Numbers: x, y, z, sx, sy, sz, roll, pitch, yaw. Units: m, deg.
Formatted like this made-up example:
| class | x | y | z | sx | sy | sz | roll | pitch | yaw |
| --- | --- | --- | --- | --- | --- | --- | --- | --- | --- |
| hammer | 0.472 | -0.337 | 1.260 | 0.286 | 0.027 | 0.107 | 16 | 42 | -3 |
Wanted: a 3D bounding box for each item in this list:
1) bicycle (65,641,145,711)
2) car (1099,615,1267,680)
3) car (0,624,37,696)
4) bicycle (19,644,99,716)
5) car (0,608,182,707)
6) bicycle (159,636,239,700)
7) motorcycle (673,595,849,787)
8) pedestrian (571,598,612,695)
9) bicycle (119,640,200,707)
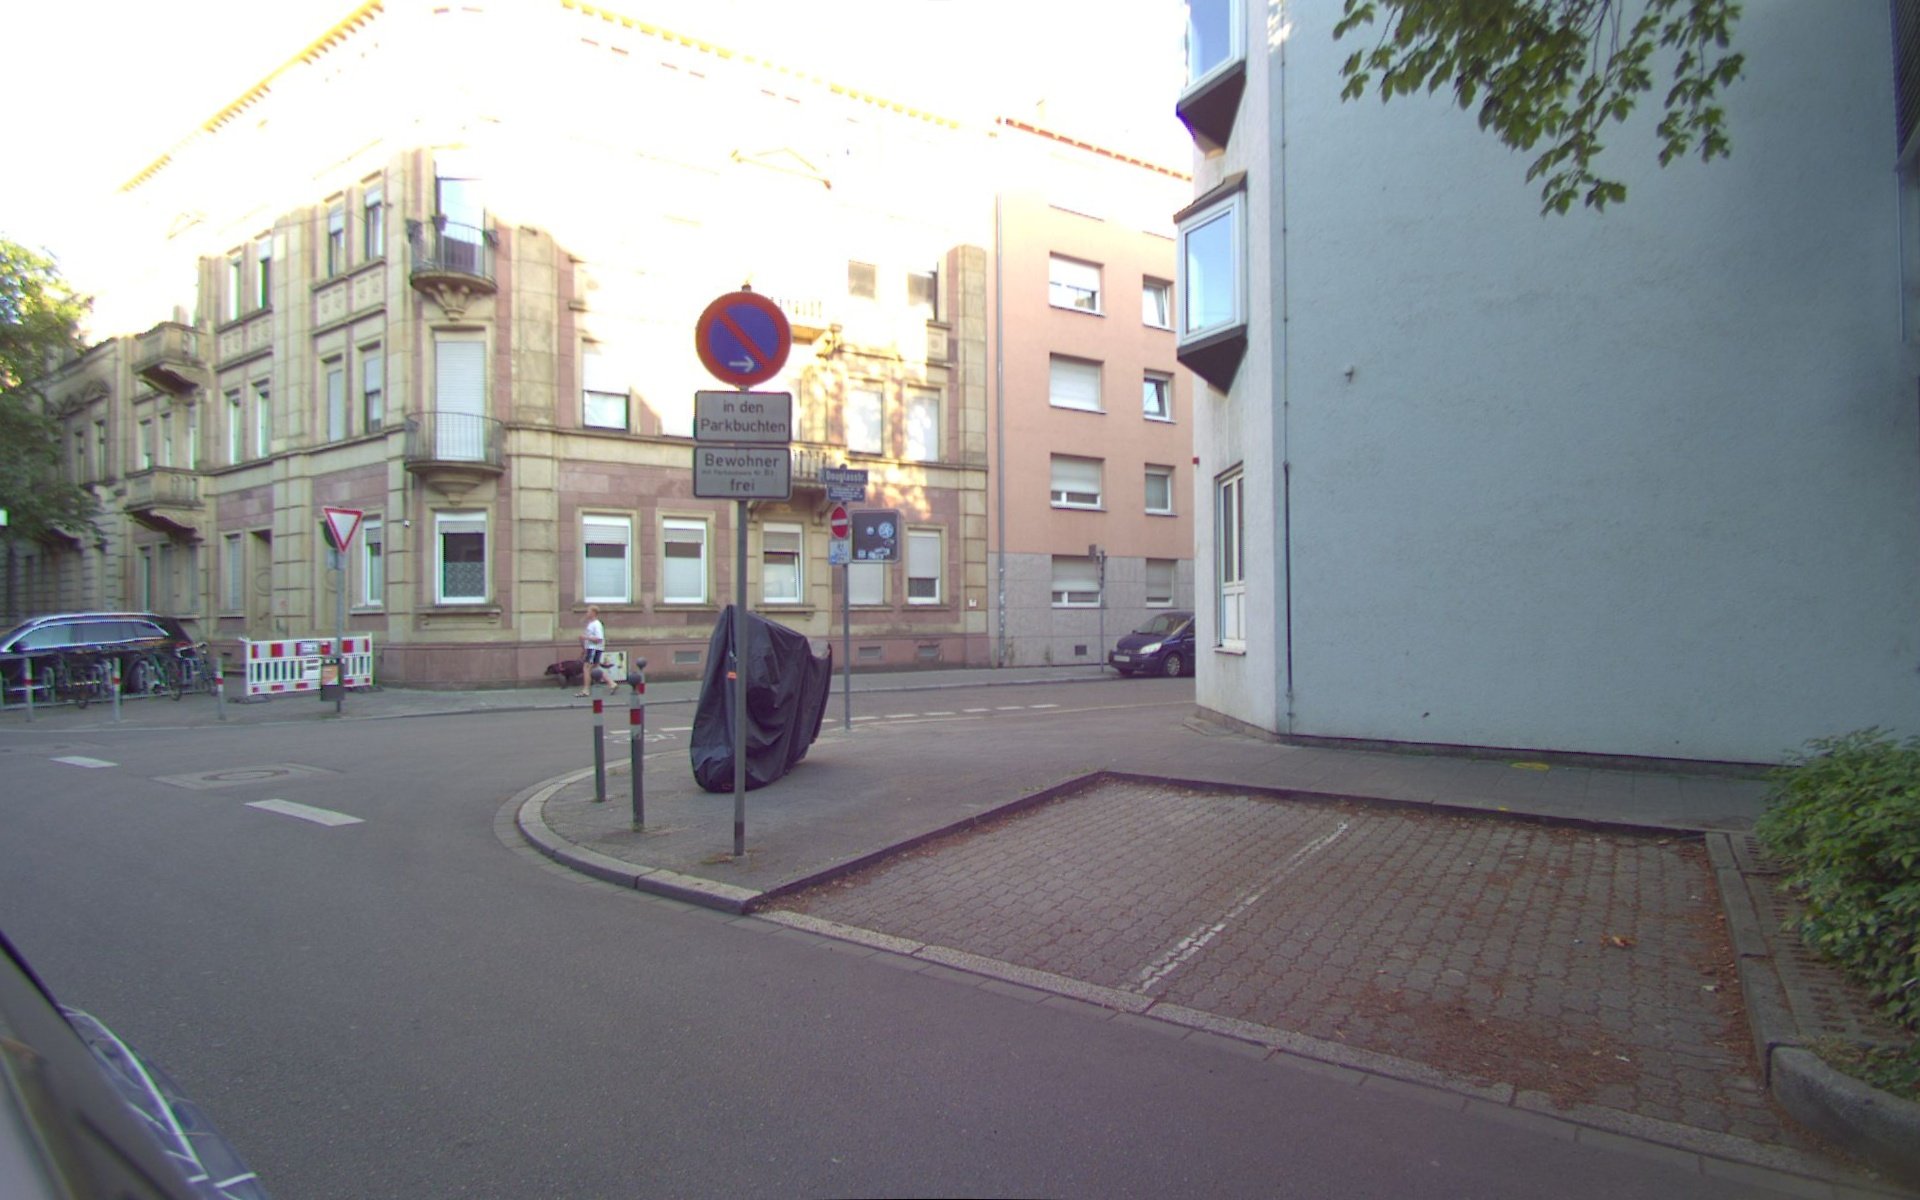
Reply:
| class | x | y | z | sx | sy | sz | roll | pitch | yaw |
| --- | --- | --- | --- | --- | --- | --- | --- | --- | --- |
| bicycle | -15.264 | 1.326 | 18.053 | 2.034 | 1.159 | 0.555 | -1 | -1 | 34 |
| car | 5.745 | 1.157 | 25.852 | 4.297 | 1.529 | 1.789 | 1 | -2 | -36 |
| car | -24.297 | 1.427 | 23.392 | 1.740 | 1.690 | 4.190 | -1 | -2 | 39 |
| bicycle | -15.617 | 1.350 | 17.524 | 2.034 | 1.159 | 0.555 | -1 | -1 | 34 |
| car | -17.894 | 1.075 | 19.465 | 1.740 | 1.795 | 4.367 | -1 | -2 | 39 |
| bicycle | -14.438 | 1.267 | 19.185 | 2.033 | 1.159 | 0.556 | -1 | -1 | 33 |
| motorcycle | -1.718 | 0.741 | 9.202 | 0.809 | 1.516 | 2.276 | -1 | -1 | 10 |
| pedestrian | -7.070 | 0.878 | 19.393 | 0.640 | 1.821 | 0.575 | 0 | -1 | -31 |
| bicycle | -14.792 | 1.328 | 18.681 | 2.033 | 1.159 | 0.556 | -1 | -1 | 33 |
